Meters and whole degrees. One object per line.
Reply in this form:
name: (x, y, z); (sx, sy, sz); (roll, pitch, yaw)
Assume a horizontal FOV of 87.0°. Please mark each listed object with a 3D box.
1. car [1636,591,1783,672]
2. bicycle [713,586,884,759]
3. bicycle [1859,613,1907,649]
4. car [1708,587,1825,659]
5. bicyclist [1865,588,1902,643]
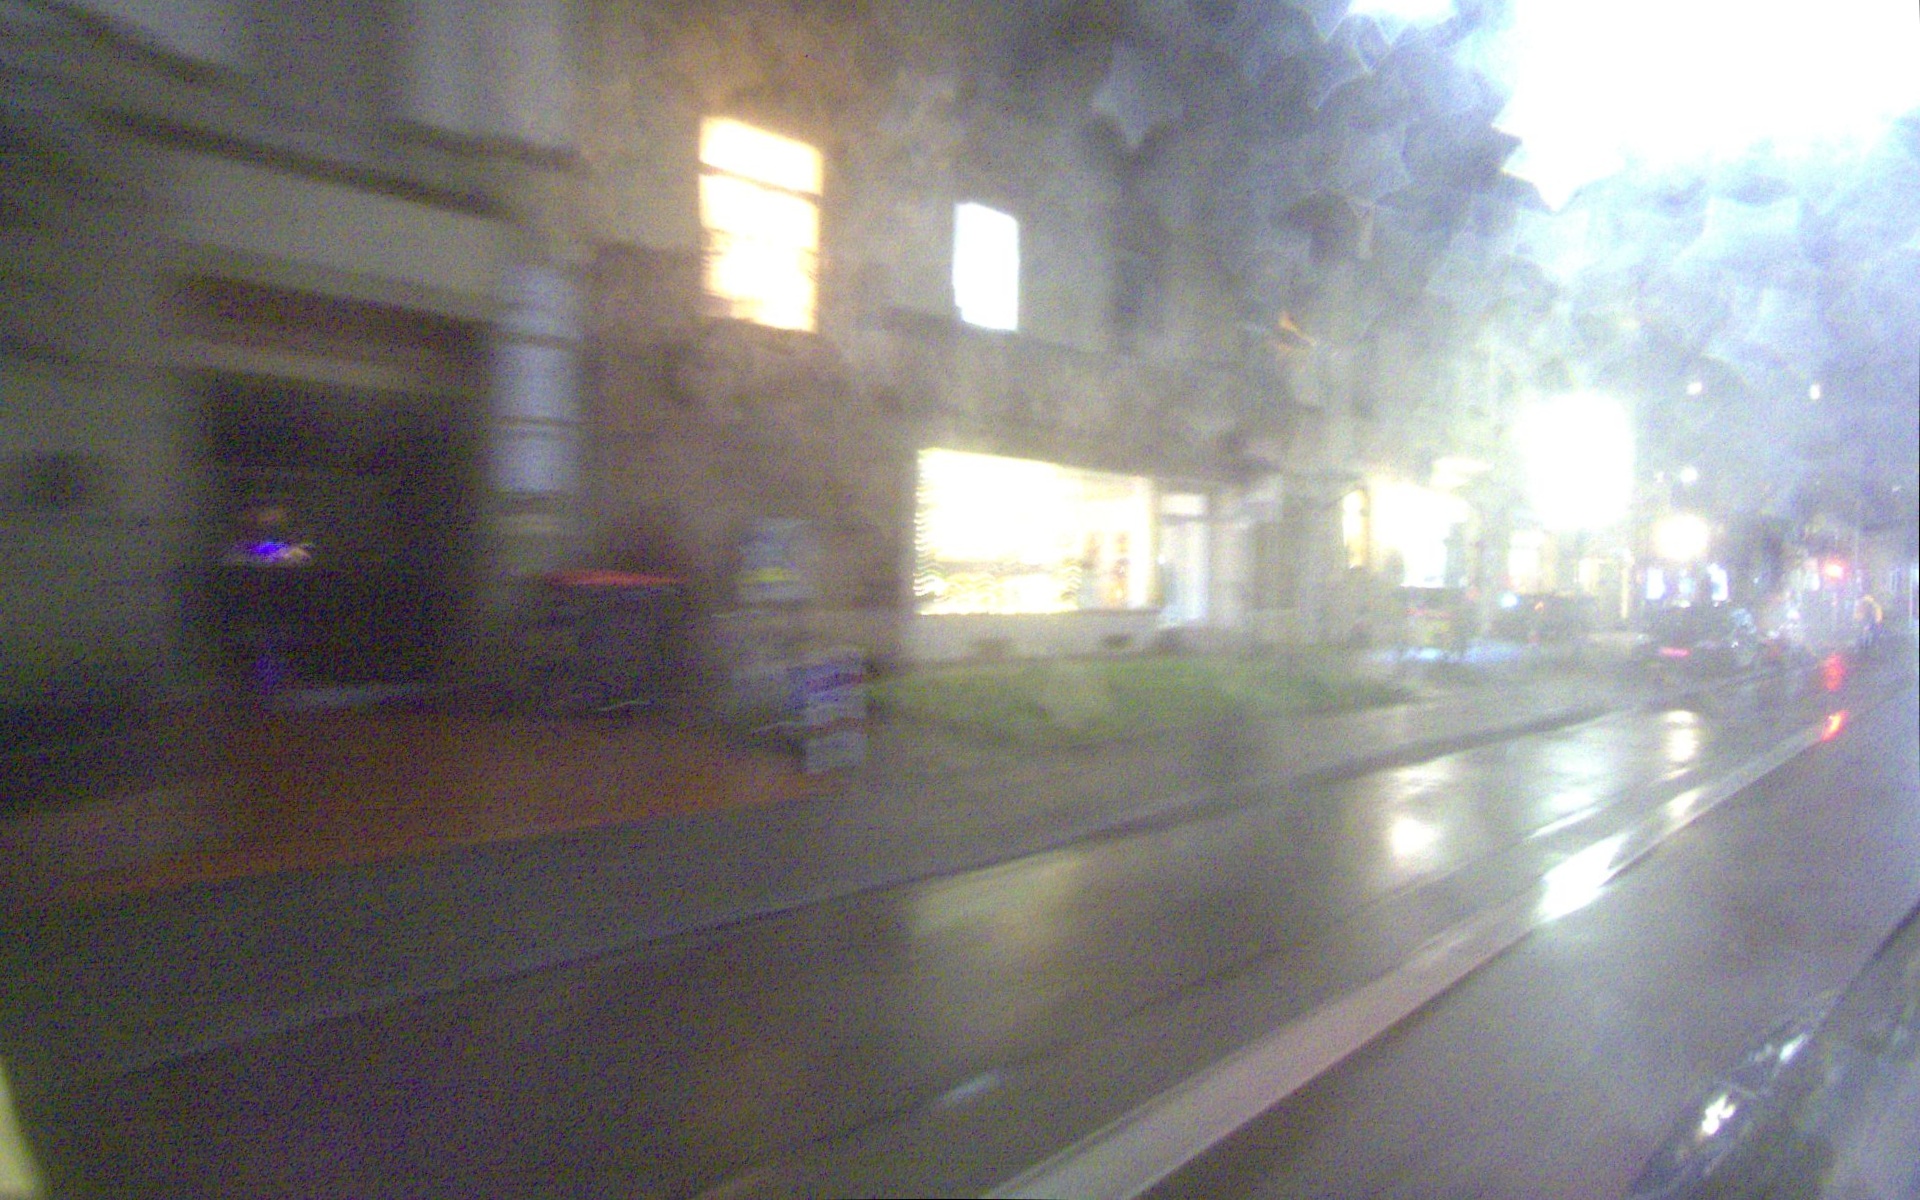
car: (16.257, 0.615, 21.880); (3.985, 1.459, 1.649); (0, 5, -41)
bicycle: (-1.386, 0.535, 8.395); (0.484, 1.177, 1.817); (-1, 5, -41)
bicycle: (26.678, 0.883, 29.279); (0.567, 0.981, 1.764); (-1, 0, 27)
car: (20.101, 0.509, 25.177); (3.519, 1.543, 1.651); (0, 5, -43)
bicyclist: (26.624, 0.435, 29.182); (0.567, 1.567, 0.808); (-1, 0, 27)
